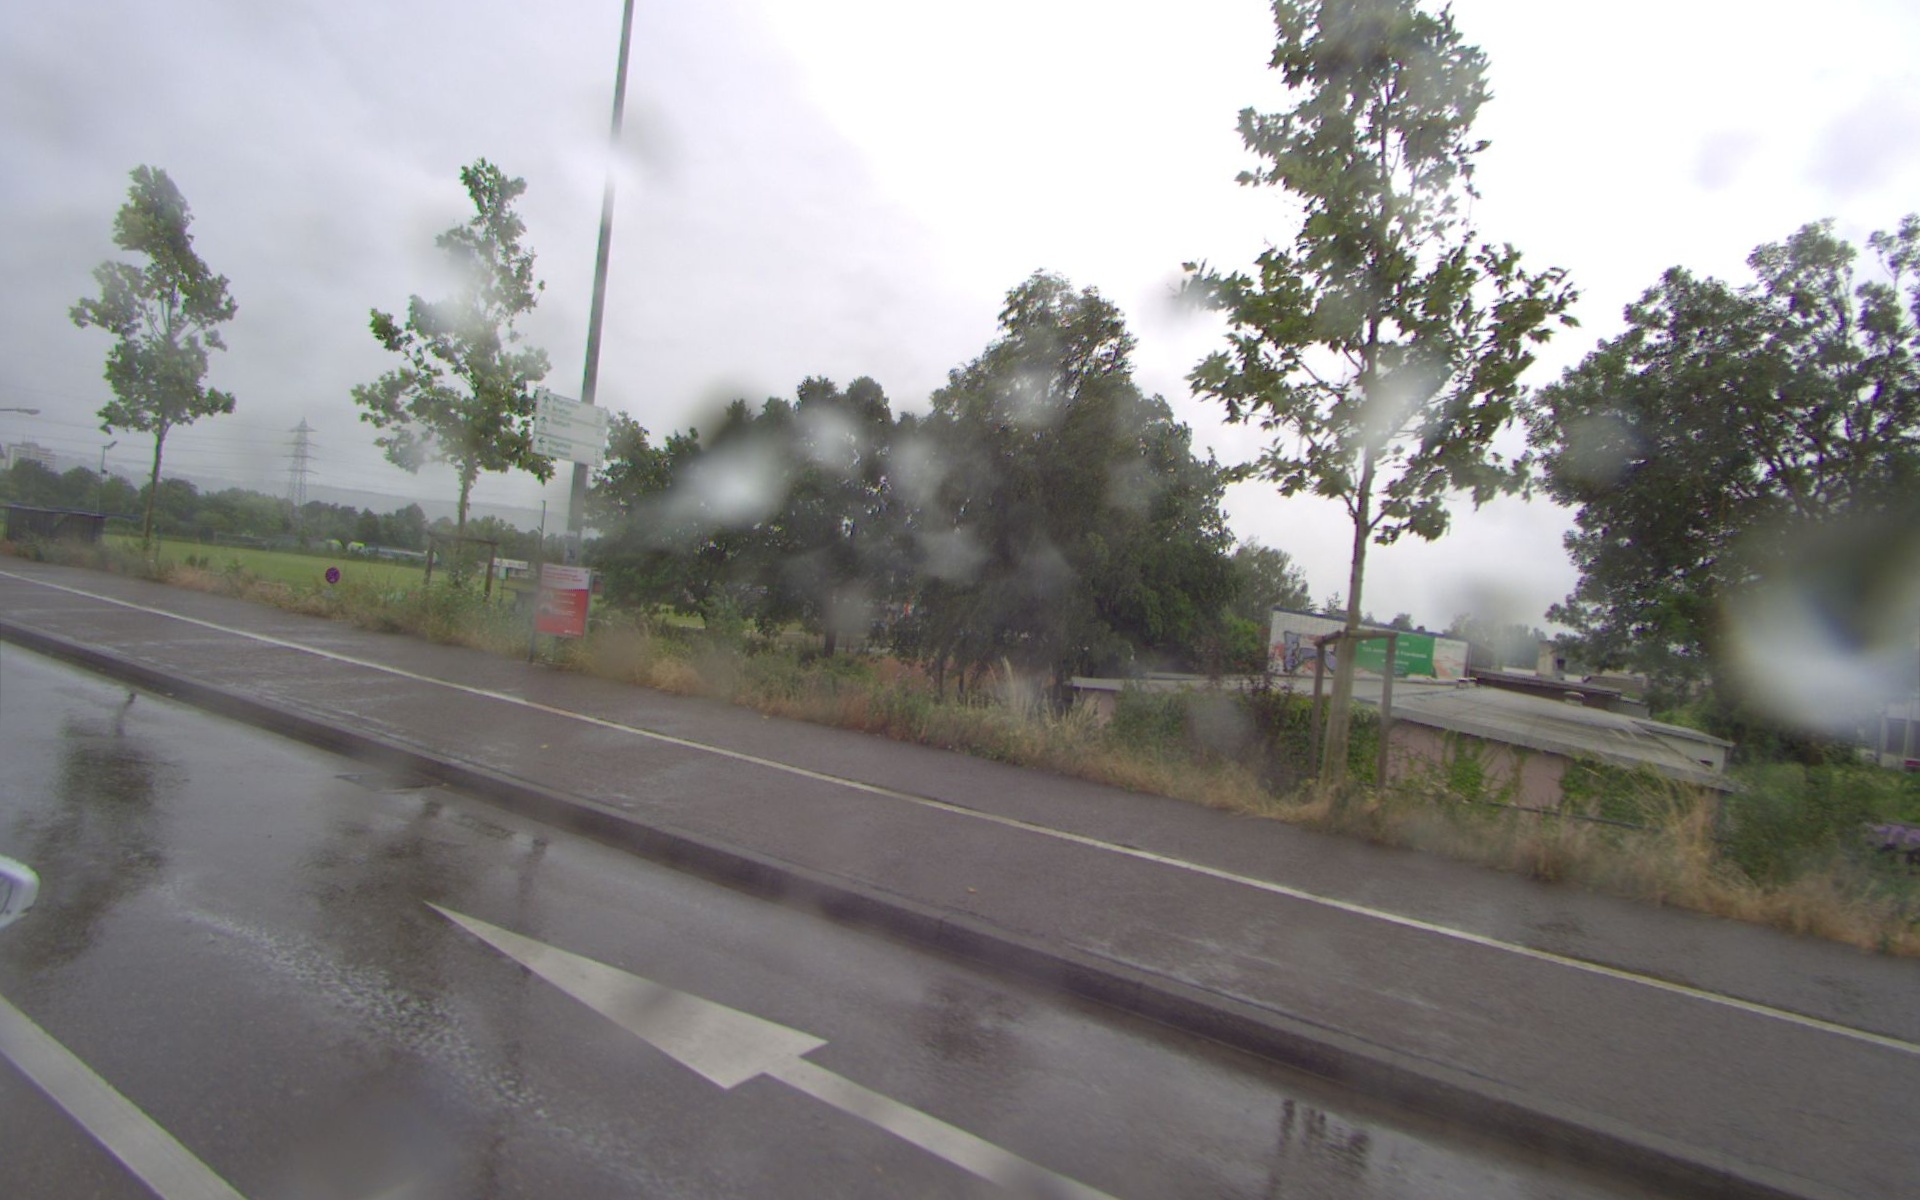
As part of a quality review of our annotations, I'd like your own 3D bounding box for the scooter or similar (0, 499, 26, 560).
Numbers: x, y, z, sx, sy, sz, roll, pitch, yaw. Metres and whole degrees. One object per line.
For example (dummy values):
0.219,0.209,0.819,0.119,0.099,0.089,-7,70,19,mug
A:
-21.284,-1.627,21.860,2.971,1.226,0.691,7,0,33,scooter or similar
